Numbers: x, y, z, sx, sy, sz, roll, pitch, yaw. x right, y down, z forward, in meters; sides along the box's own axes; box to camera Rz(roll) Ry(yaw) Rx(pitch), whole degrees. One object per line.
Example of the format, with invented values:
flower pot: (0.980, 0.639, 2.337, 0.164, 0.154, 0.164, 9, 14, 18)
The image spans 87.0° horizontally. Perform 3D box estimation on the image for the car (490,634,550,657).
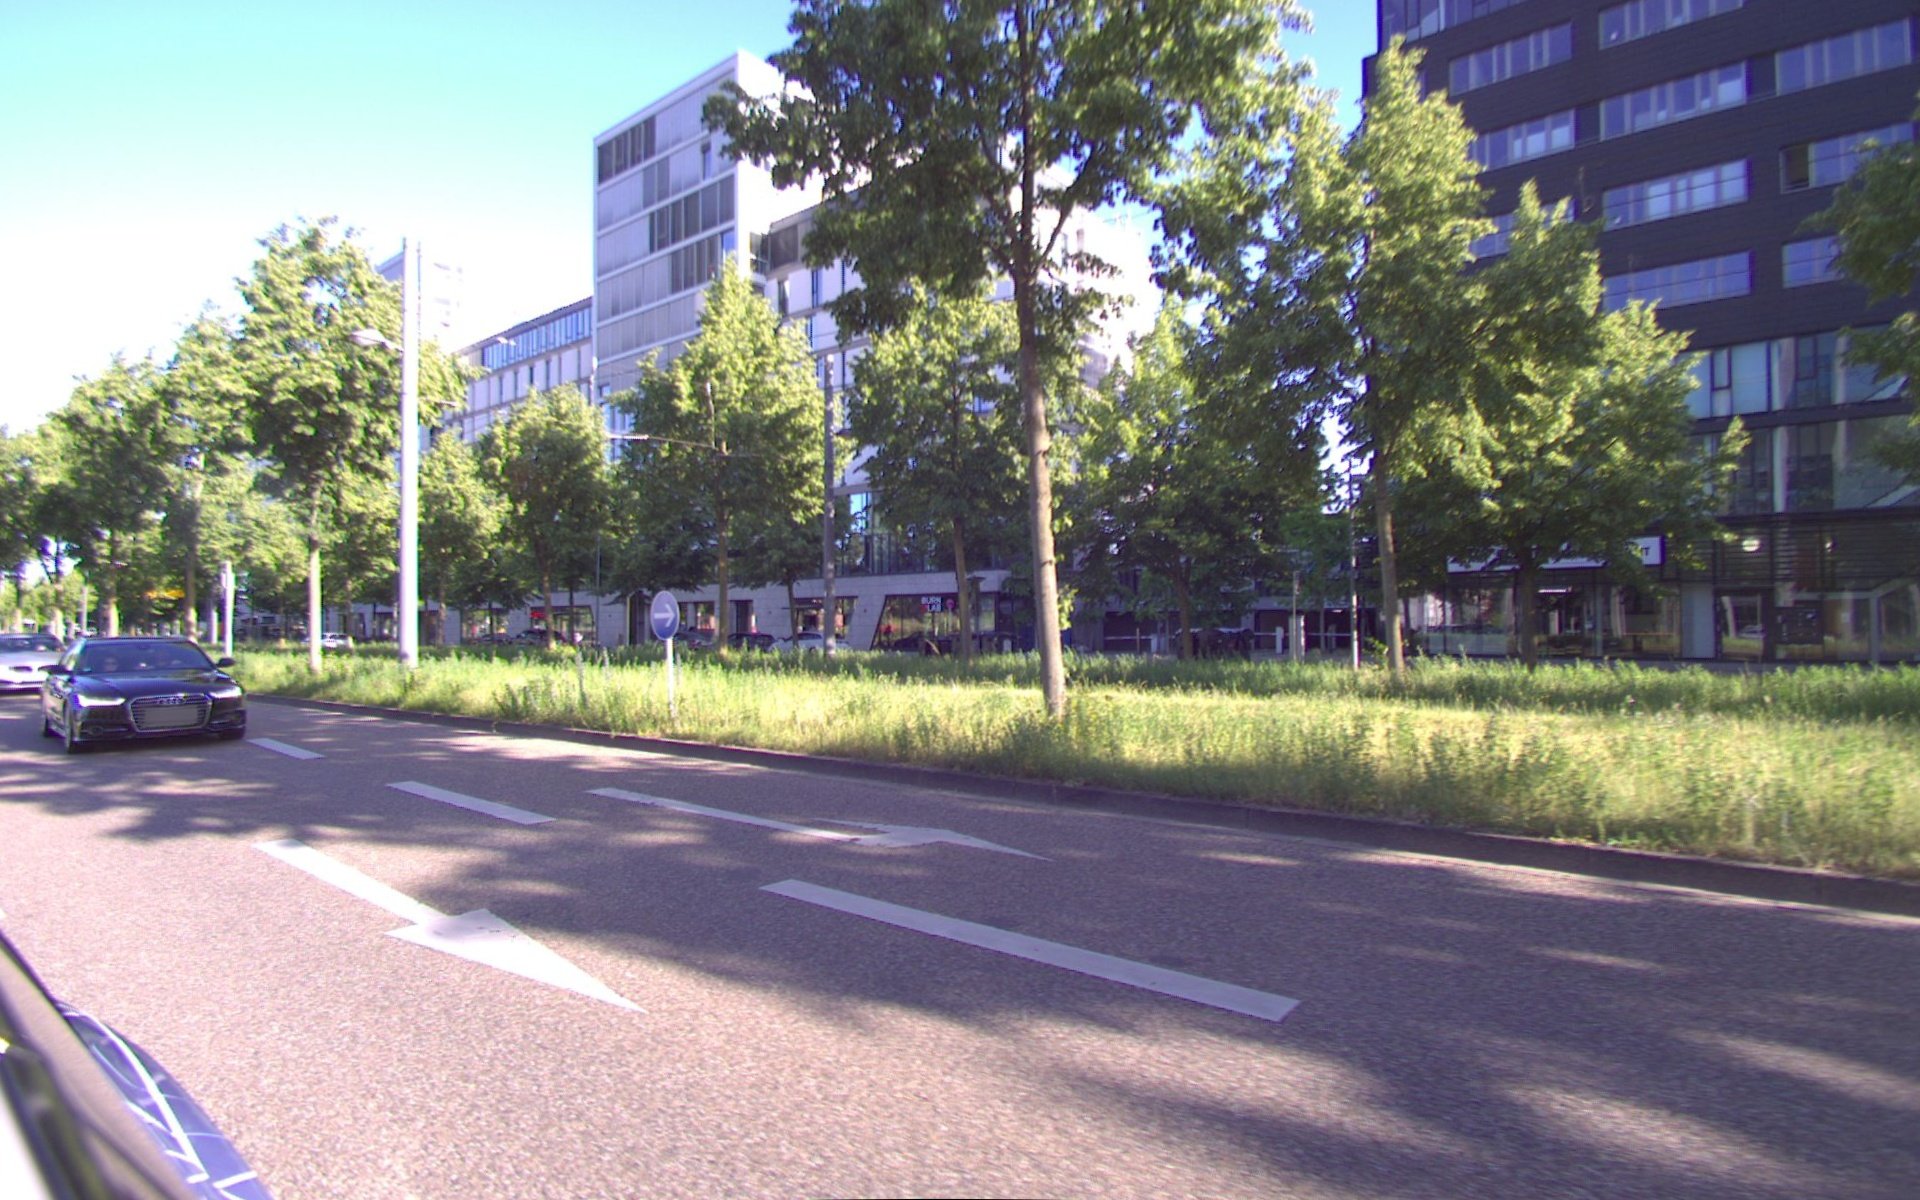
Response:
car: (-29.096, 2.969, 66.881, 4.800, 1.430, 1.651, -2, -2, 40)

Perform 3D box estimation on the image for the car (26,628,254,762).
car: (-11.539, 1.188, 14.116, 4.599, 1.538, 1.765, -2, -1, 42)

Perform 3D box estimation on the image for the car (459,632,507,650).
car: (-33.076, 2.845, 70.161, 3.579, 1.217, 1.651, -2, -2, 39)

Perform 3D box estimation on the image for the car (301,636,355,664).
car: (-41.704, 3.299, 66.760, 4.316, 1.701, 1.780, -3, -1, 40)

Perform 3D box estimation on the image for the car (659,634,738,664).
car: (-13.382, 2.479, 51.699, 4.543, 1.431, 1.697, -2, -2, 42)

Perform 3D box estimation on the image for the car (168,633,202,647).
car: (-76.826, 3.979, 100.324, 4.306, 1.302, 1.780, -3, -4, 39)

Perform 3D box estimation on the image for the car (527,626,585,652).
car: (-29.375, 2.834, 73.493, 5.126, 1.790, 1.779, -3, -1, 41)

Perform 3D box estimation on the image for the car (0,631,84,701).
car: (-23.500, 1.590, 25.188, 4.524, 1.581, 1.826, -2, -2, 39)

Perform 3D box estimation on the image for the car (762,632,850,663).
car: (-7.582, 2.278, 49.486, 4.541, 1.431, 1.698, -2, -2, 40)

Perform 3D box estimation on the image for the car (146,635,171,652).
car: (-101.798, 5.506, 128.562, 3.998, 1.940, 1.781, 0, 0, 41)

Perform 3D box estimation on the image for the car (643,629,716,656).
car: (-15.681, 2.376, 56.434, 4.541, 1.431, 1.698, -2, -2, 40)

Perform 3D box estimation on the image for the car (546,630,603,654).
car: (-24.164, 2.608, 63.392, 3.750, 1.364, 1.716, -2, 2, 40)
